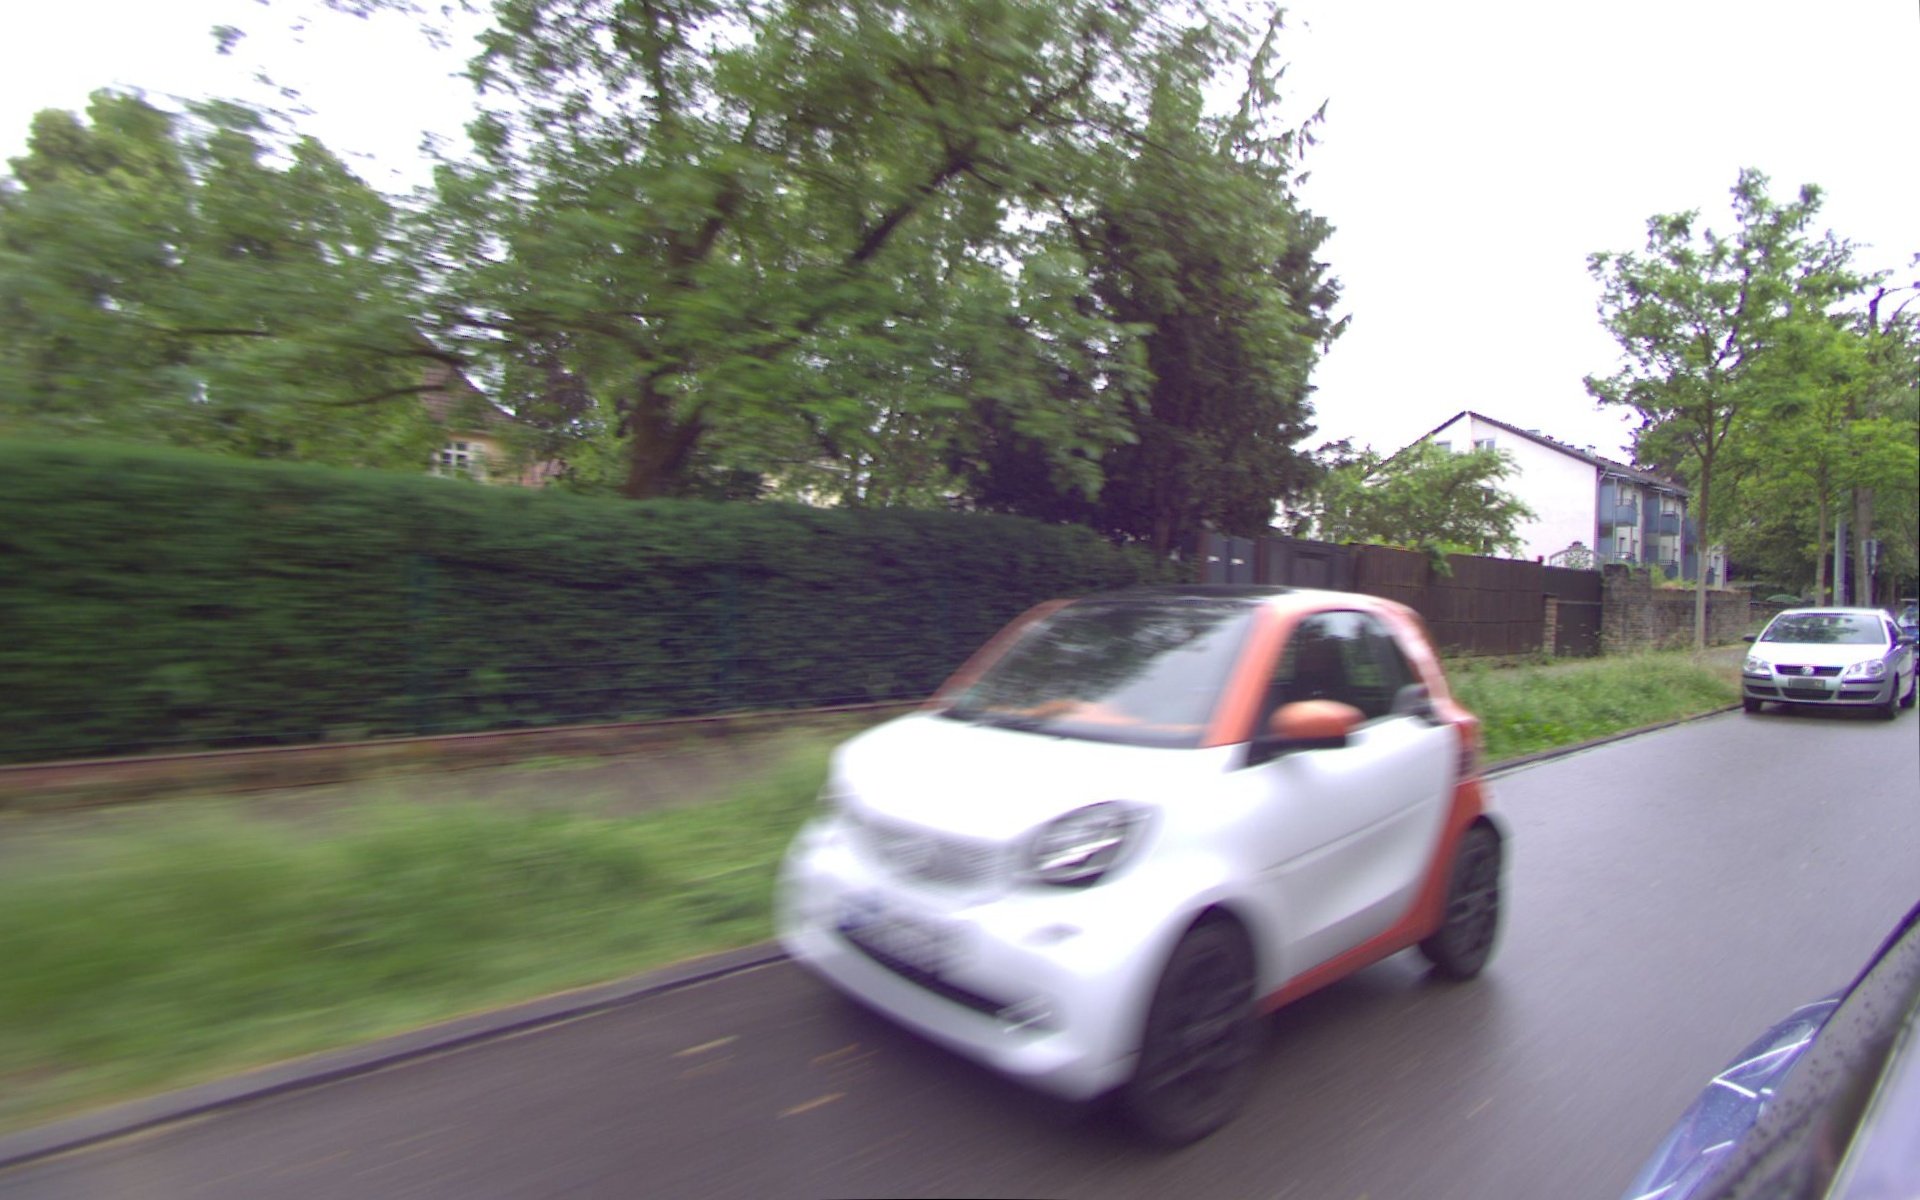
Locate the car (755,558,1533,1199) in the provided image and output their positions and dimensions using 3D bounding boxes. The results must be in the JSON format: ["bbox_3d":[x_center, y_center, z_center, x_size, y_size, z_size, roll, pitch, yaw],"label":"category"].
[{"bbox_3d":[0.825,0.668,3.910,2.752,1.536,1.600,0,0,-41],"label":"car"}]

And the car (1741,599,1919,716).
[{"bbox_3d":[12.573,0.714,14.363,3.635,1.447,1.673,0,0,-41],"label":"car"}]

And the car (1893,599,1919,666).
[{"bbox_3d":[22.415,0.715,22.784,3.635,1.447,1.673,0,0,-41],"label":"car"}]
